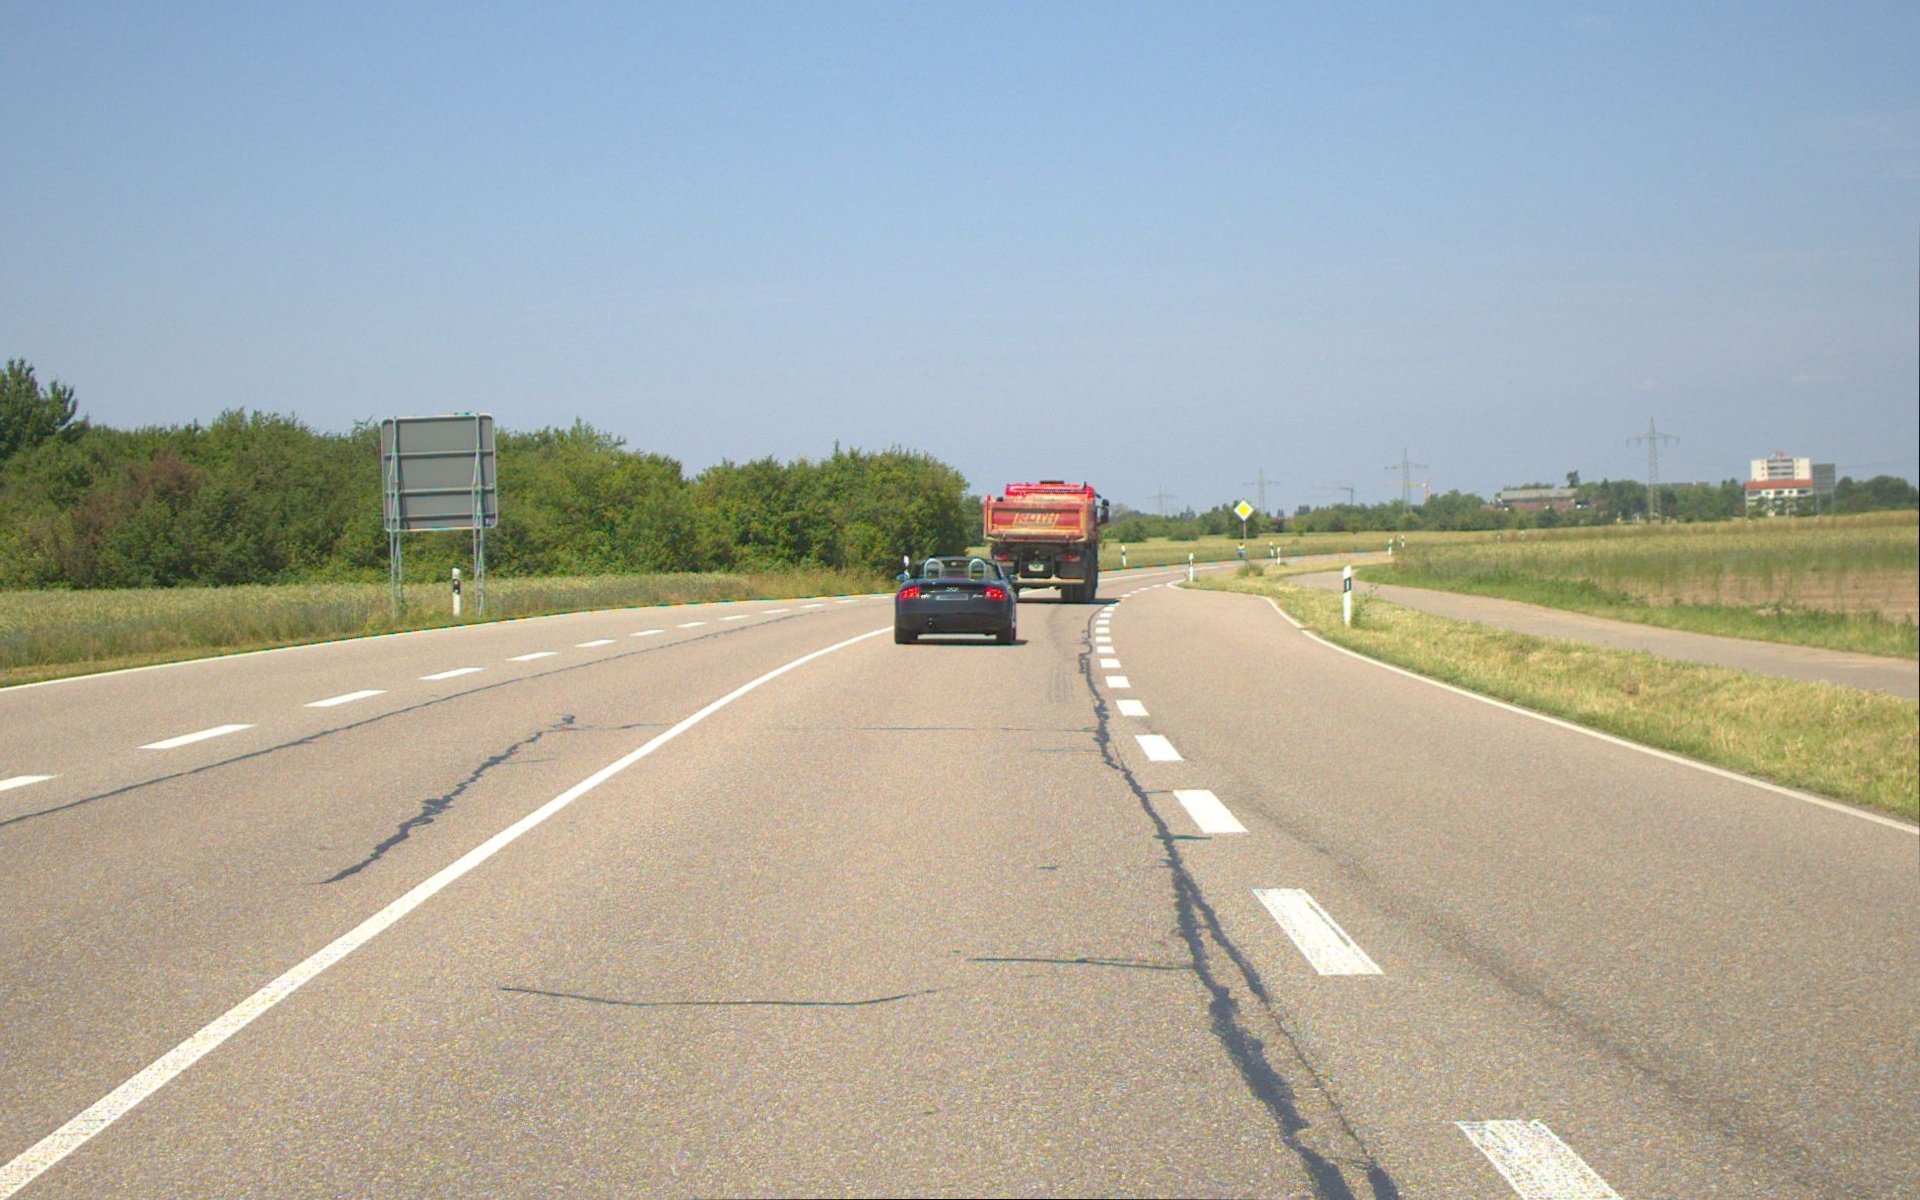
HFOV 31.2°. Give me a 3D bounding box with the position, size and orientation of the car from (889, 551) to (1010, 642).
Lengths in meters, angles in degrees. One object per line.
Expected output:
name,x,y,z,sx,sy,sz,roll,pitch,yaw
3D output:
car,-0.167,-0.079,51.601,1.744,1.275,4.000,0,1,0

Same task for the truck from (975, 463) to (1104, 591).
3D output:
truck,2.084,-1.836,87.207,2.938,3.078,7.195,-1,1,4
